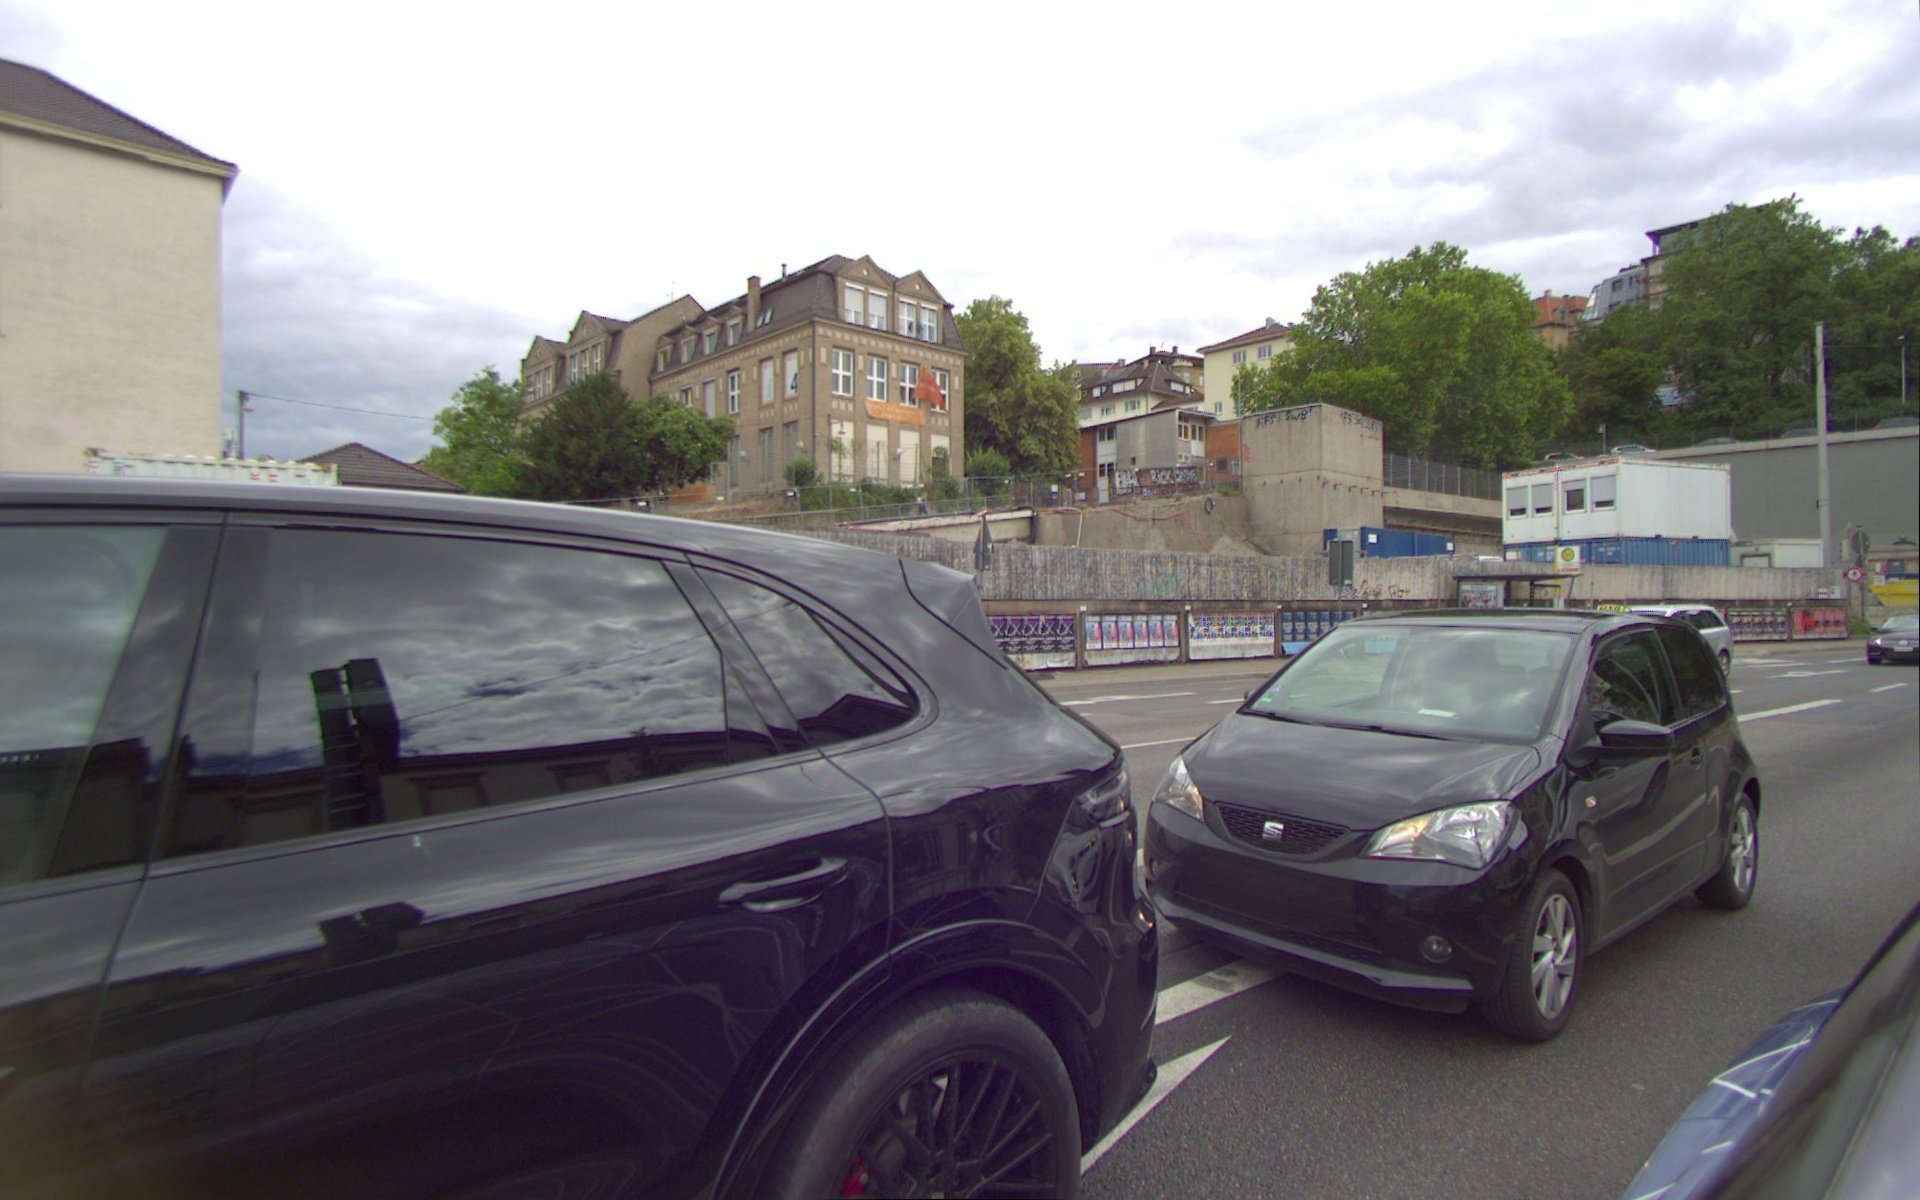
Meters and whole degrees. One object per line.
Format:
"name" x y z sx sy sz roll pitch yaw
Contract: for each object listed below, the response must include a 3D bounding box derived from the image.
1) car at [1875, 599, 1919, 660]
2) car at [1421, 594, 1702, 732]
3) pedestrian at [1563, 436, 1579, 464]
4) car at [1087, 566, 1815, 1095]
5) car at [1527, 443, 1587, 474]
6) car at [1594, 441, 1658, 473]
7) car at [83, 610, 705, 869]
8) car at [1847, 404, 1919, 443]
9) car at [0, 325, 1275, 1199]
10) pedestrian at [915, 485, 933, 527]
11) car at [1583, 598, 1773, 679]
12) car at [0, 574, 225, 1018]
"car" 26.952 0.759 27.839 4.464 1.579 1.706 0 0 -35
"car" 8.347 0.723 13.884 4.570 1.591 1.826 0 0 -39
"pedestrian" 49.389 -12.104 81.799 0.891 2.039 0.849 0 -1 -45
"car" 2.522 0.666 4.781 3.812 1.515 1.667 0 -1 -40
"car" 50.254 -11.895 85.219 3.988 2.039 1.968 0 1 45
"car" 53.569 -11.487 81.429 3.988 2.039 1.968 0 1 45
"car" -4.183 0.845 7.901 3.927 1.498 1.663 0 -1 -38
"car" 64.157 -12.169 70.038 1.966 2.039 3.991 0 1 -43
"car" -1.628 0.589 1.695 4.552 1.707 1.959 0 -1 -40
"pedestrian" -1.785 -4.670 50.401 0.656 2.039 0.644 0 0 -45
"car" 15.578 0.765 21.905 4.461 1.579 1.707 0 0 -31
"car" -4.889 0.697 3.414 3.812 1.563 1.667 0 -1 -40
